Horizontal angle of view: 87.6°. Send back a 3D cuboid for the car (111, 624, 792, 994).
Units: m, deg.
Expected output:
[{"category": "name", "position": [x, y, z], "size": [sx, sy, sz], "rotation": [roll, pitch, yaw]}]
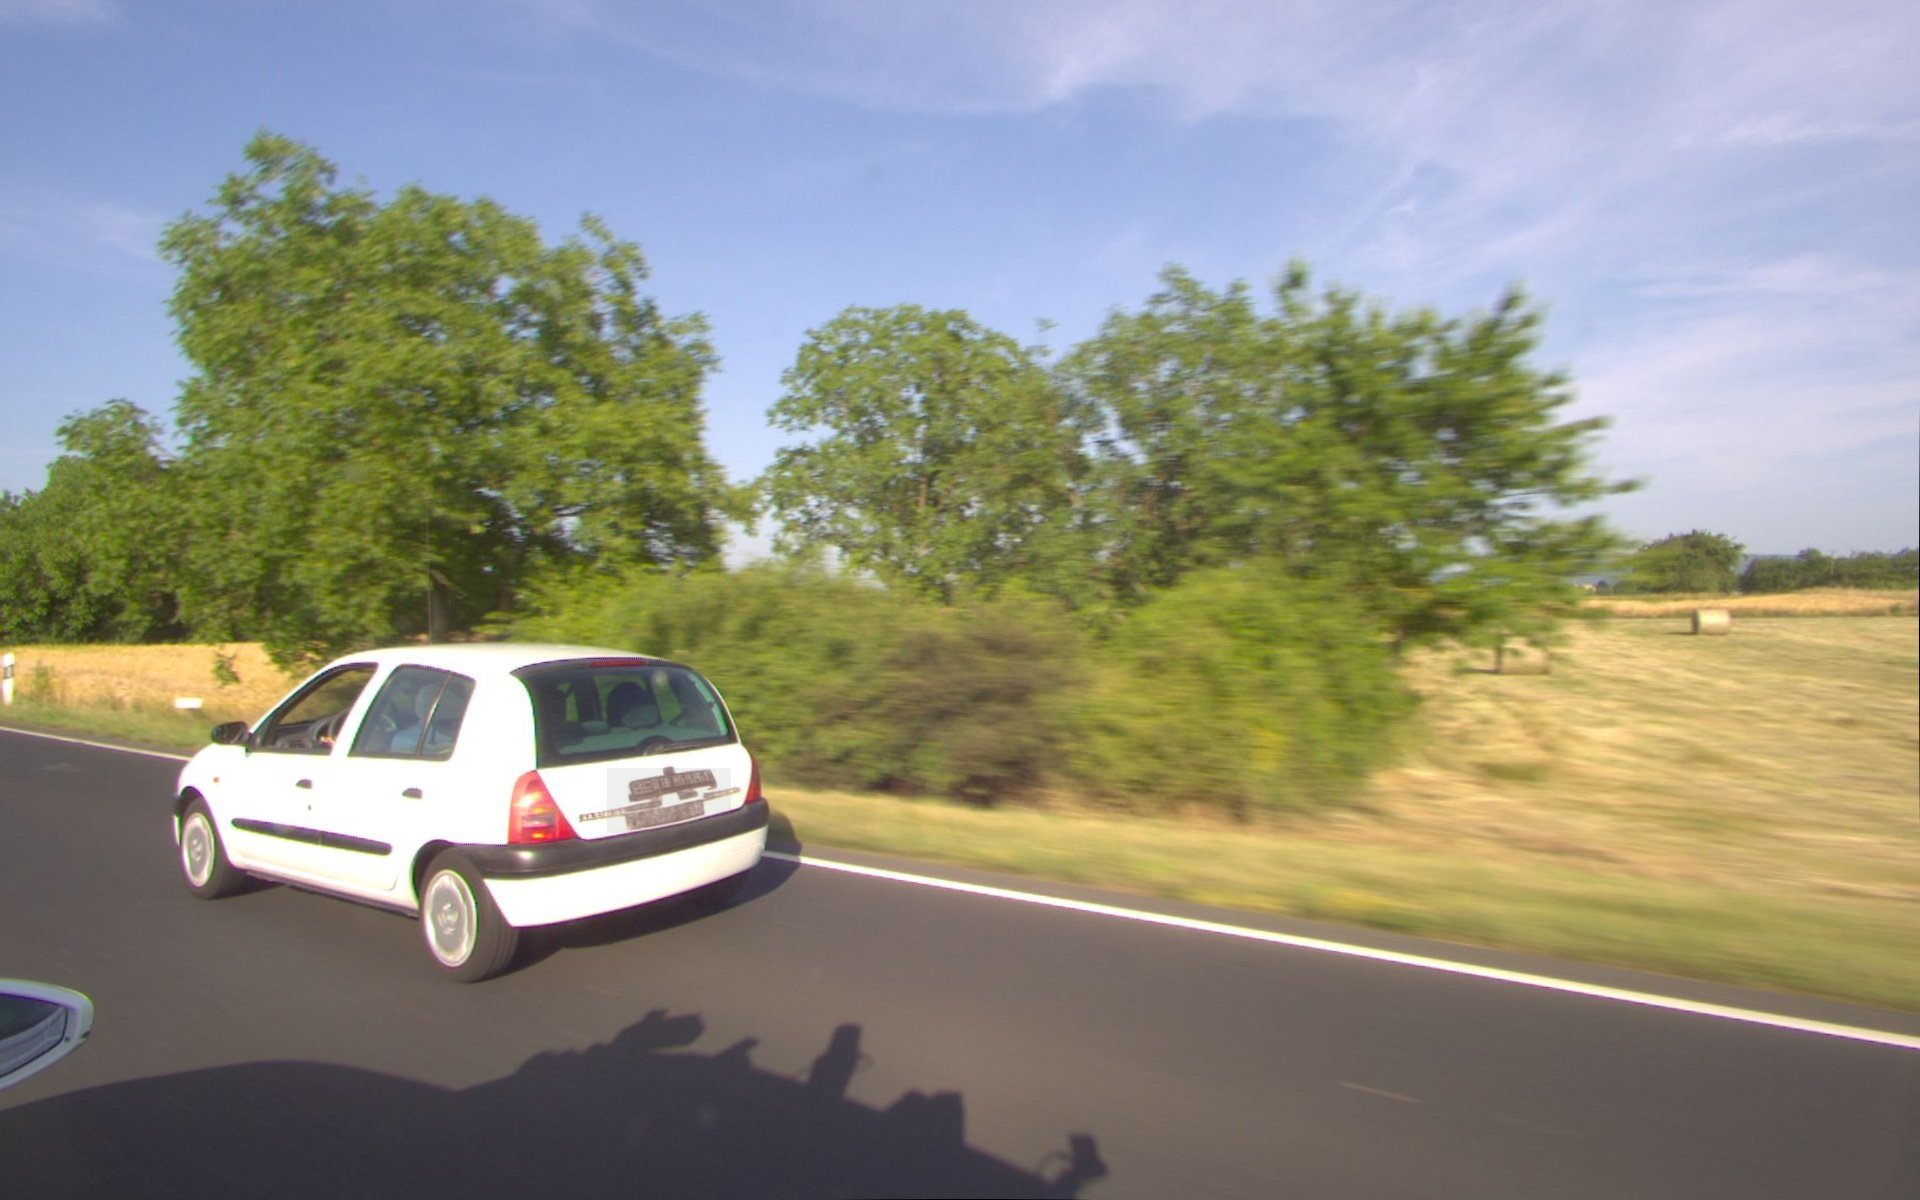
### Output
[{"category": "car", "position": [-2.940, 0.876, 5.552], "size": [3.896, 1.405, 1.615], "rotation": [-2, -2, 32]}]
